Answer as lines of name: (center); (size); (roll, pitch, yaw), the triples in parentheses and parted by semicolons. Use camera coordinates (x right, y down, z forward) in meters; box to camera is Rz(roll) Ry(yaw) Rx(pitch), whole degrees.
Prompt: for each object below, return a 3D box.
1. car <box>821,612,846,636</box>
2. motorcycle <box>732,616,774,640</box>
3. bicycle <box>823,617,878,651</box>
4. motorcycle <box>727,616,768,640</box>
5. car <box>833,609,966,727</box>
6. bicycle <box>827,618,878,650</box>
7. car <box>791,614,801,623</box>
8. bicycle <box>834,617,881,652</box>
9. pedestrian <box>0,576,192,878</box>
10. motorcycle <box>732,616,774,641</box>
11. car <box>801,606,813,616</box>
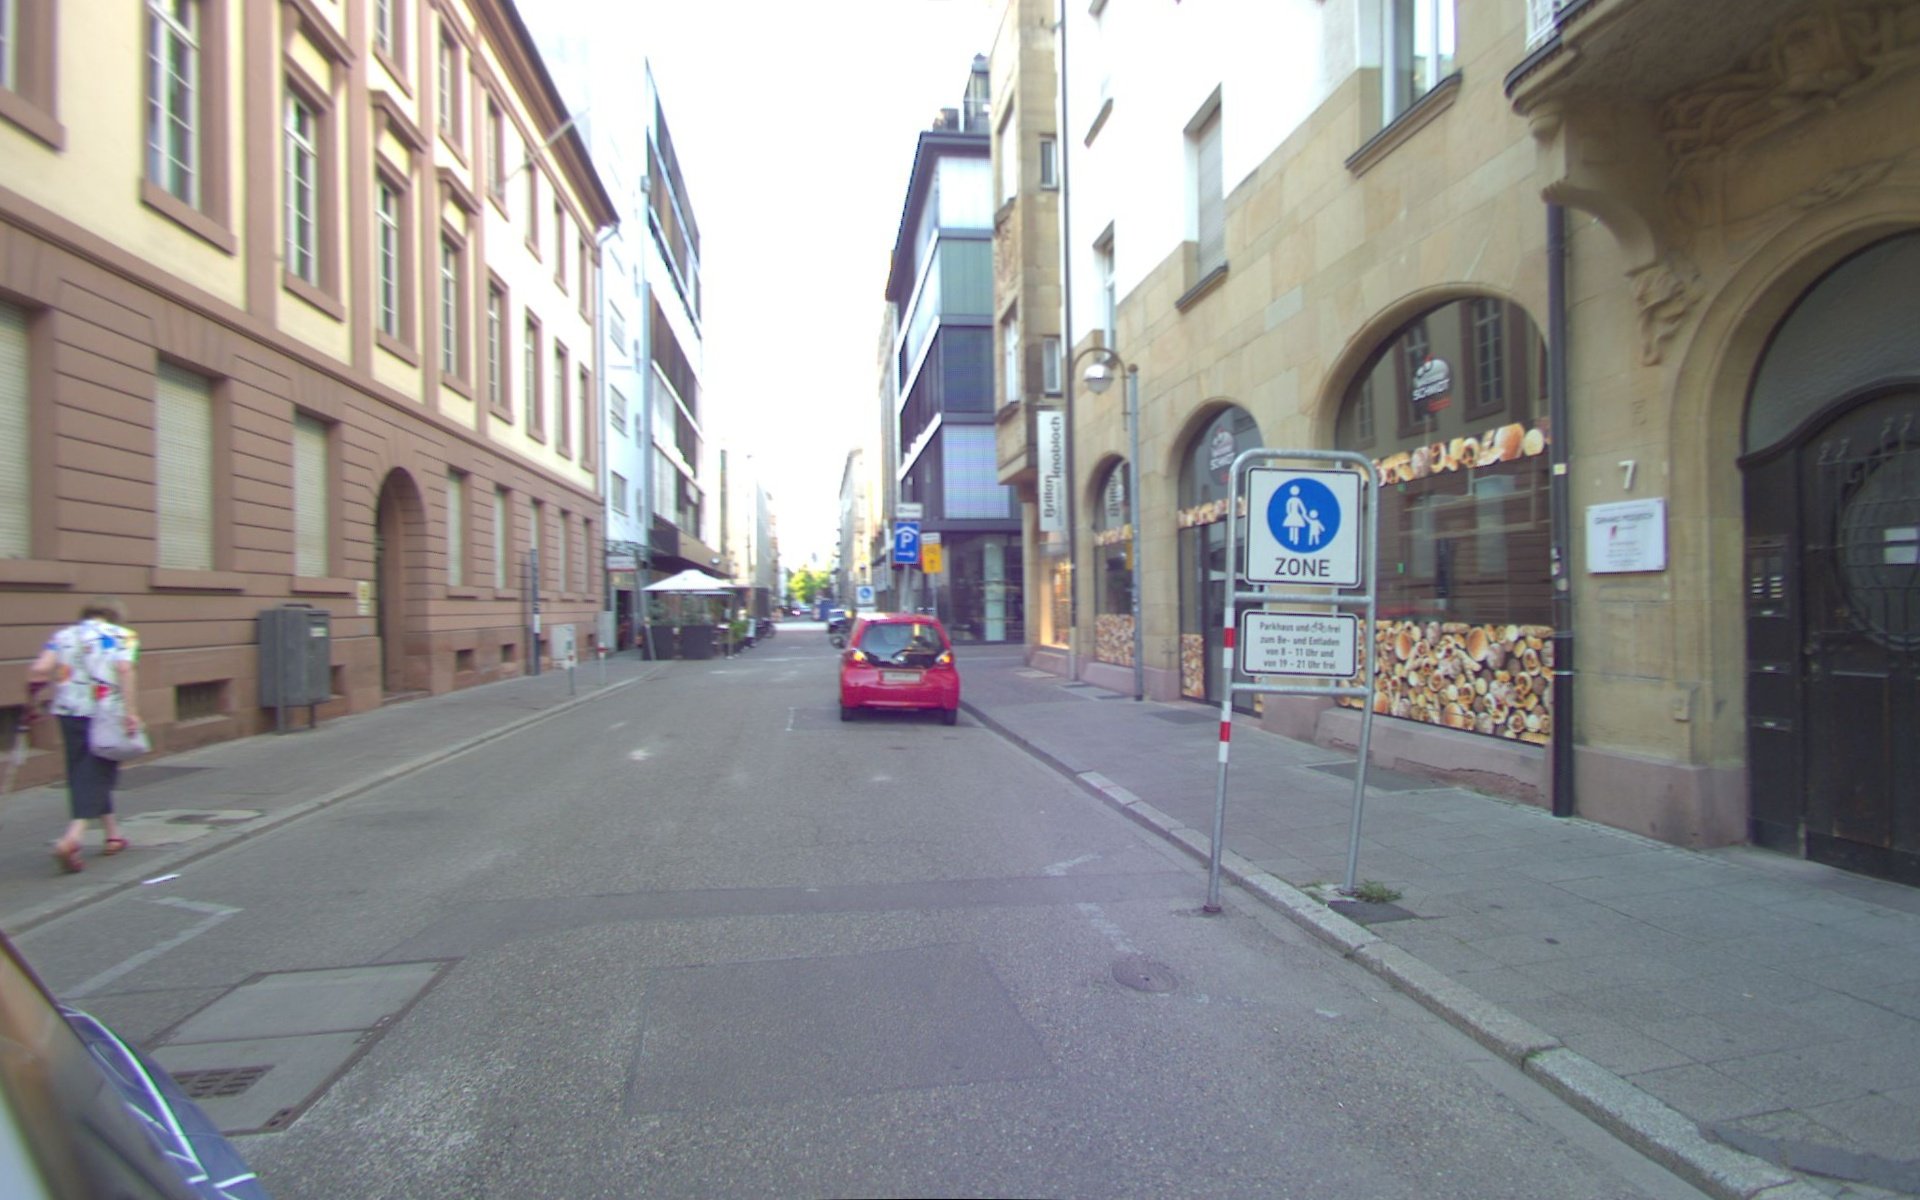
car: (-7.919, 1.490, 63.226); (1.404, 1.428, 3.902); (-2, -1, -9)
motorcycle: (-11.172, 1.520, 54.694); (2.160, 1.292, 0.652); (0, -1, -6)
bicycle: (-3.920, 1.224, 36.326); (1.924, 1.139, 0.621); (-2, -1, -7)
motorcycle: (-11.811, 1.548, 56.349); (2.160, 1.292, 0.652); (0, -1, -6)
car: (-0.965, 0.896, 14.561); (1.613, 1.452, 3.162); (2, -1, -8)
bicycle: (-4.156, 1.308, 39.038); (1.924, 1.139, 0.527); (-2, -1, -7)
car: (-22.309, 2.517, 137.653); (1.404, 1.104, 3.570); (-2, -1, -9)
bicycle: (-3.534, 1.176, 34.832); (1.583, 1.127, 0.621); (-2, -1, -7)
pedestrian: (-5.374, 0.716, 6.129); (0.799, 1.684, 0.932); (0, -1, -10)
motorcycle: (-10.984, 1.509, 53.745); (2.160, 1.292, 0.652); (0, -1, -6)
car: (-19.973, 1.442, 132.072); (1.404, 1.310, 3.570); (-2, -1, -9)
